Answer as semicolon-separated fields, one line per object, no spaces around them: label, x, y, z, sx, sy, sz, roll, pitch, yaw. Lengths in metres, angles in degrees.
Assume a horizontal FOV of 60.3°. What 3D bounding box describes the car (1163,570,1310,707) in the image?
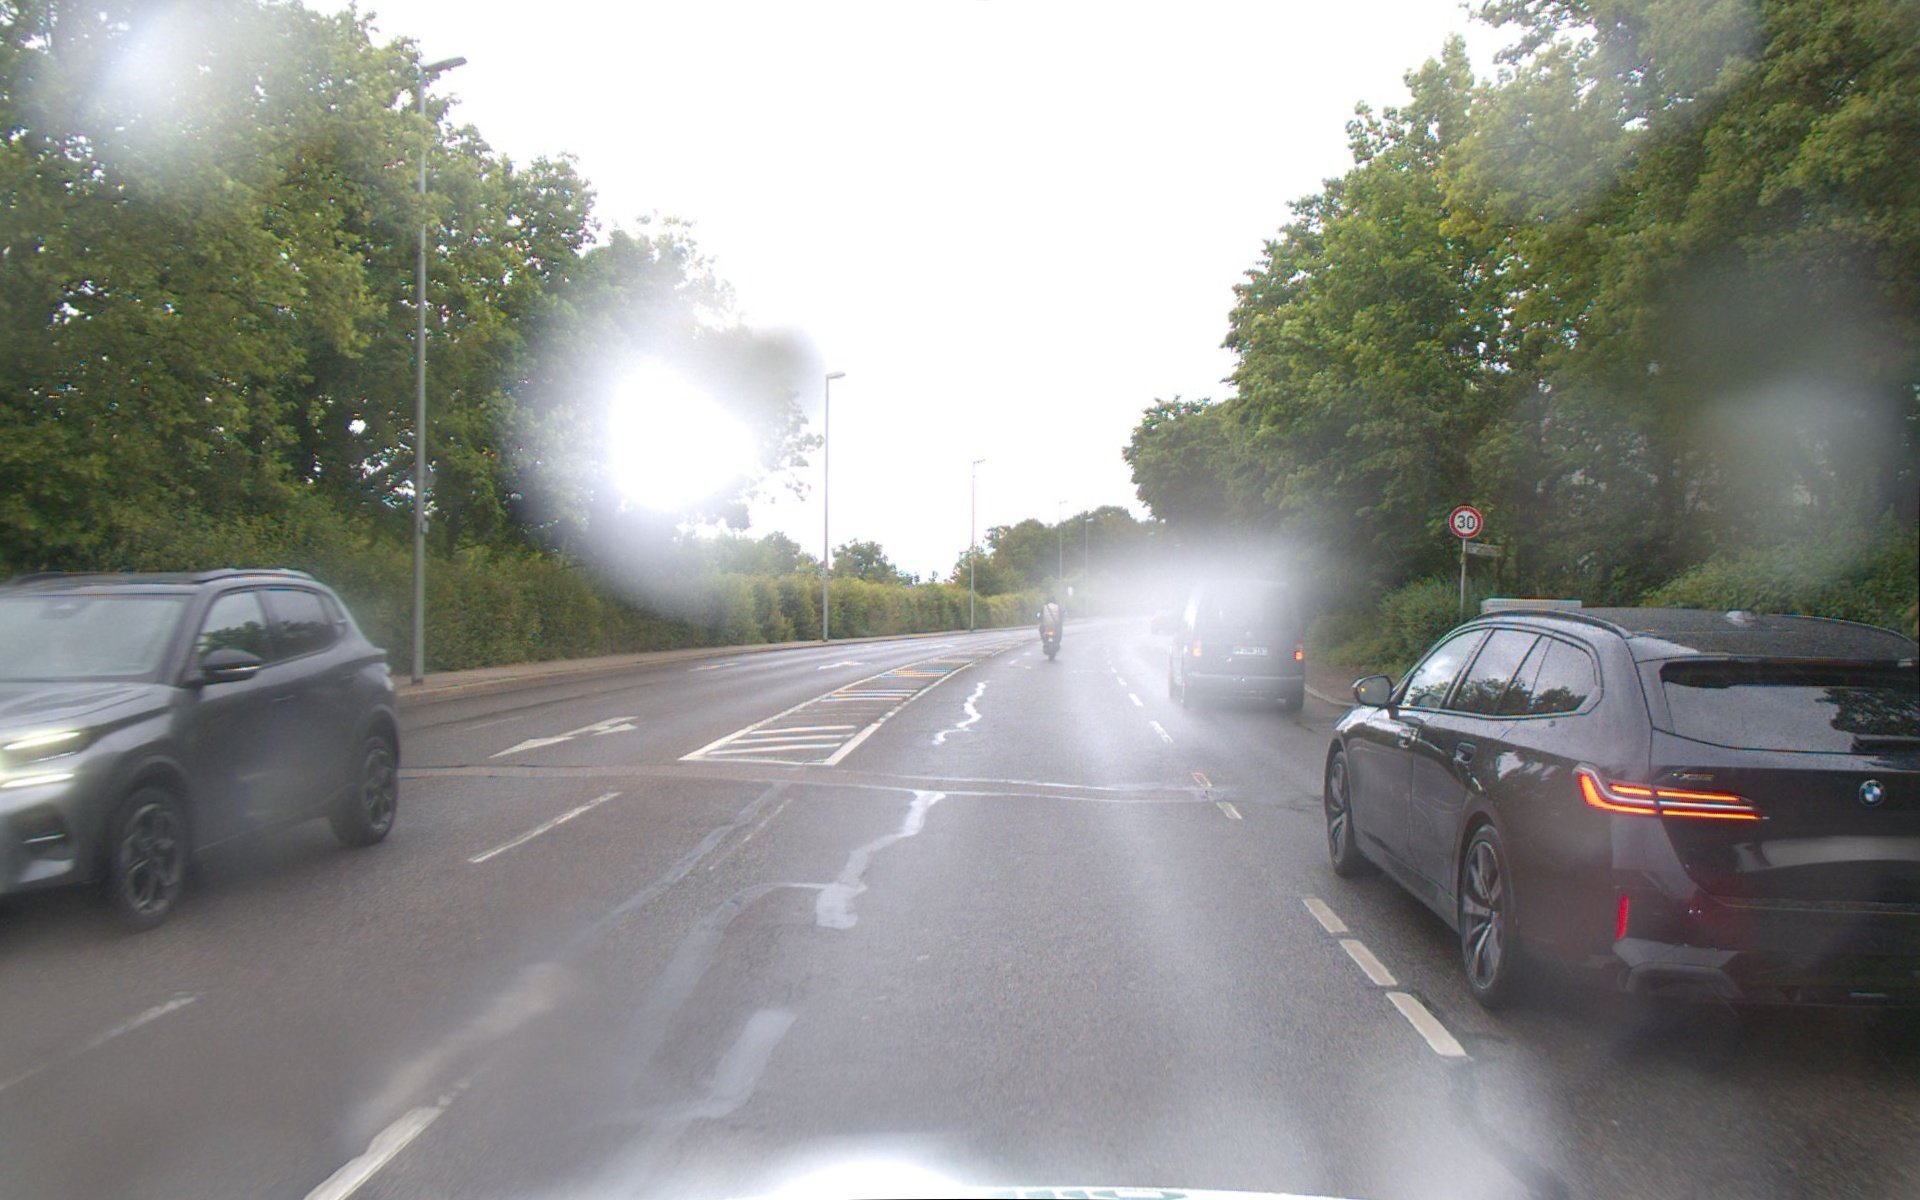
car;4.033;0.490;24.656;1.730;1.841;3.907;1;1;3

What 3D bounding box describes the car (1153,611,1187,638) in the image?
car;12.792;1.483;100.461;1.972;1.440;4.490;1;1;8

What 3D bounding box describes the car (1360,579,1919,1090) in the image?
car;2.904;0.738;6.971;1.727;1.563;3.674;1;0;3

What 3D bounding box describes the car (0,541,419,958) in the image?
car;-4.285;0.592;8.364;1.758;1.631;3.732;-1;0;2

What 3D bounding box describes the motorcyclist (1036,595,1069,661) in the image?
motorcyclist;2.385;0.716;42.448;0.827;1.676;0.468;0;1;3

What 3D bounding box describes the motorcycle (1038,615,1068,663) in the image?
motorcycle;2.389;0.992;42.570;0.726;1.139;1.427;1;1;4
